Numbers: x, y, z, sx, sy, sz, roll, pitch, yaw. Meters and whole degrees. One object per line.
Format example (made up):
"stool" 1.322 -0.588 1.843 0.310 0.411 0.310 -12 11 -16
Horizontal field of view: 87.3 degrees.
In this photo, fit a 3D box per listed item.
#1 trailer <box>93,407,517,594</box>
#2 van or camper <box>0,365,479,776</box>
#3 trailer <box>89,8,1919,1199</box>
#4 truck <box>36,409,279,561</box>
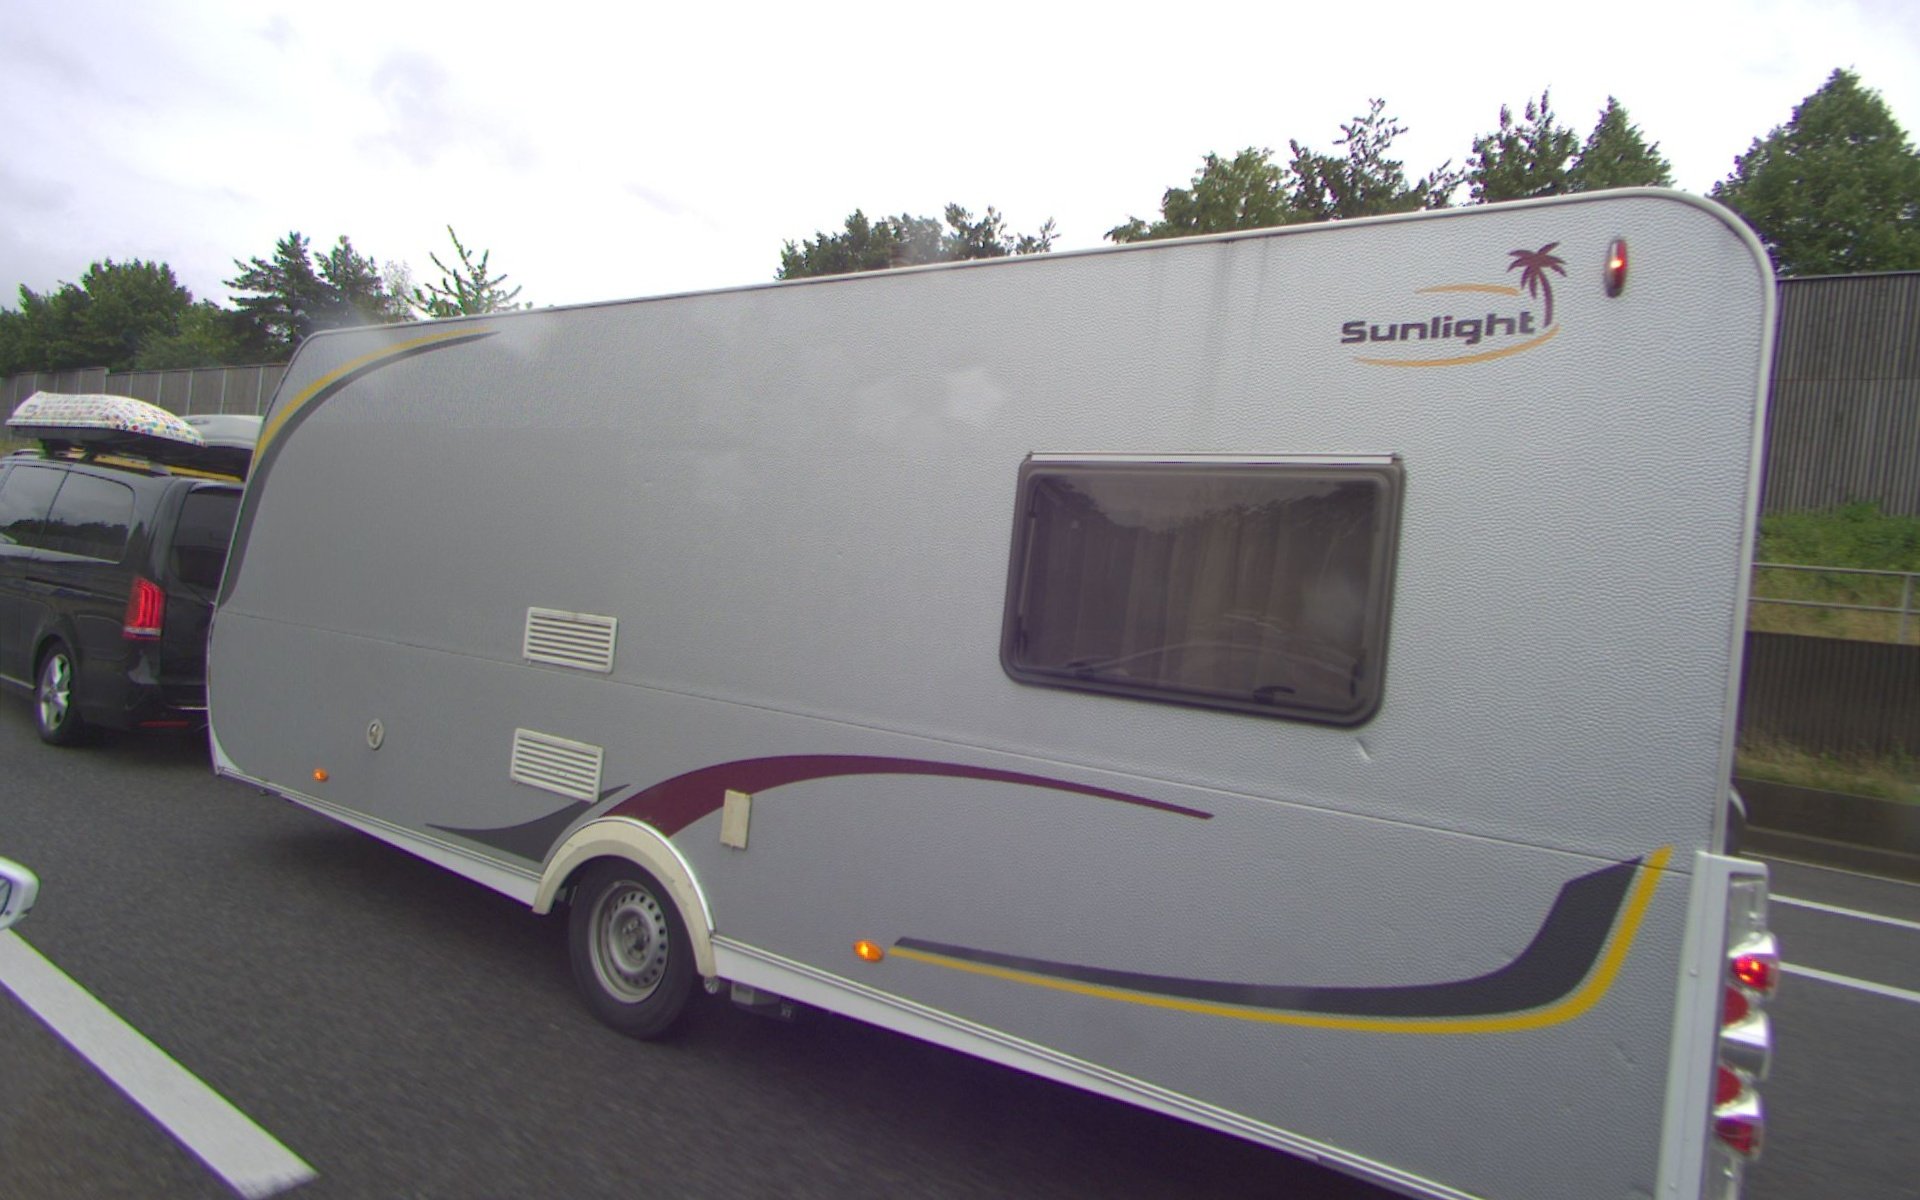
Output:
"trailer" -18.933 -3.022 28.086 16.406 3.999 2.656 6 -1 31
"van or camper" -6.429 -0.340 7.854 5.585 2.296 1.894 7 -1 32
"trailer" -0.562 0.153 4.475 7.386 2.674 2.725 7 -1 31
"truck" -25.819 -3.759 32.190 9.170 4.004 2.691 6 -1 31
